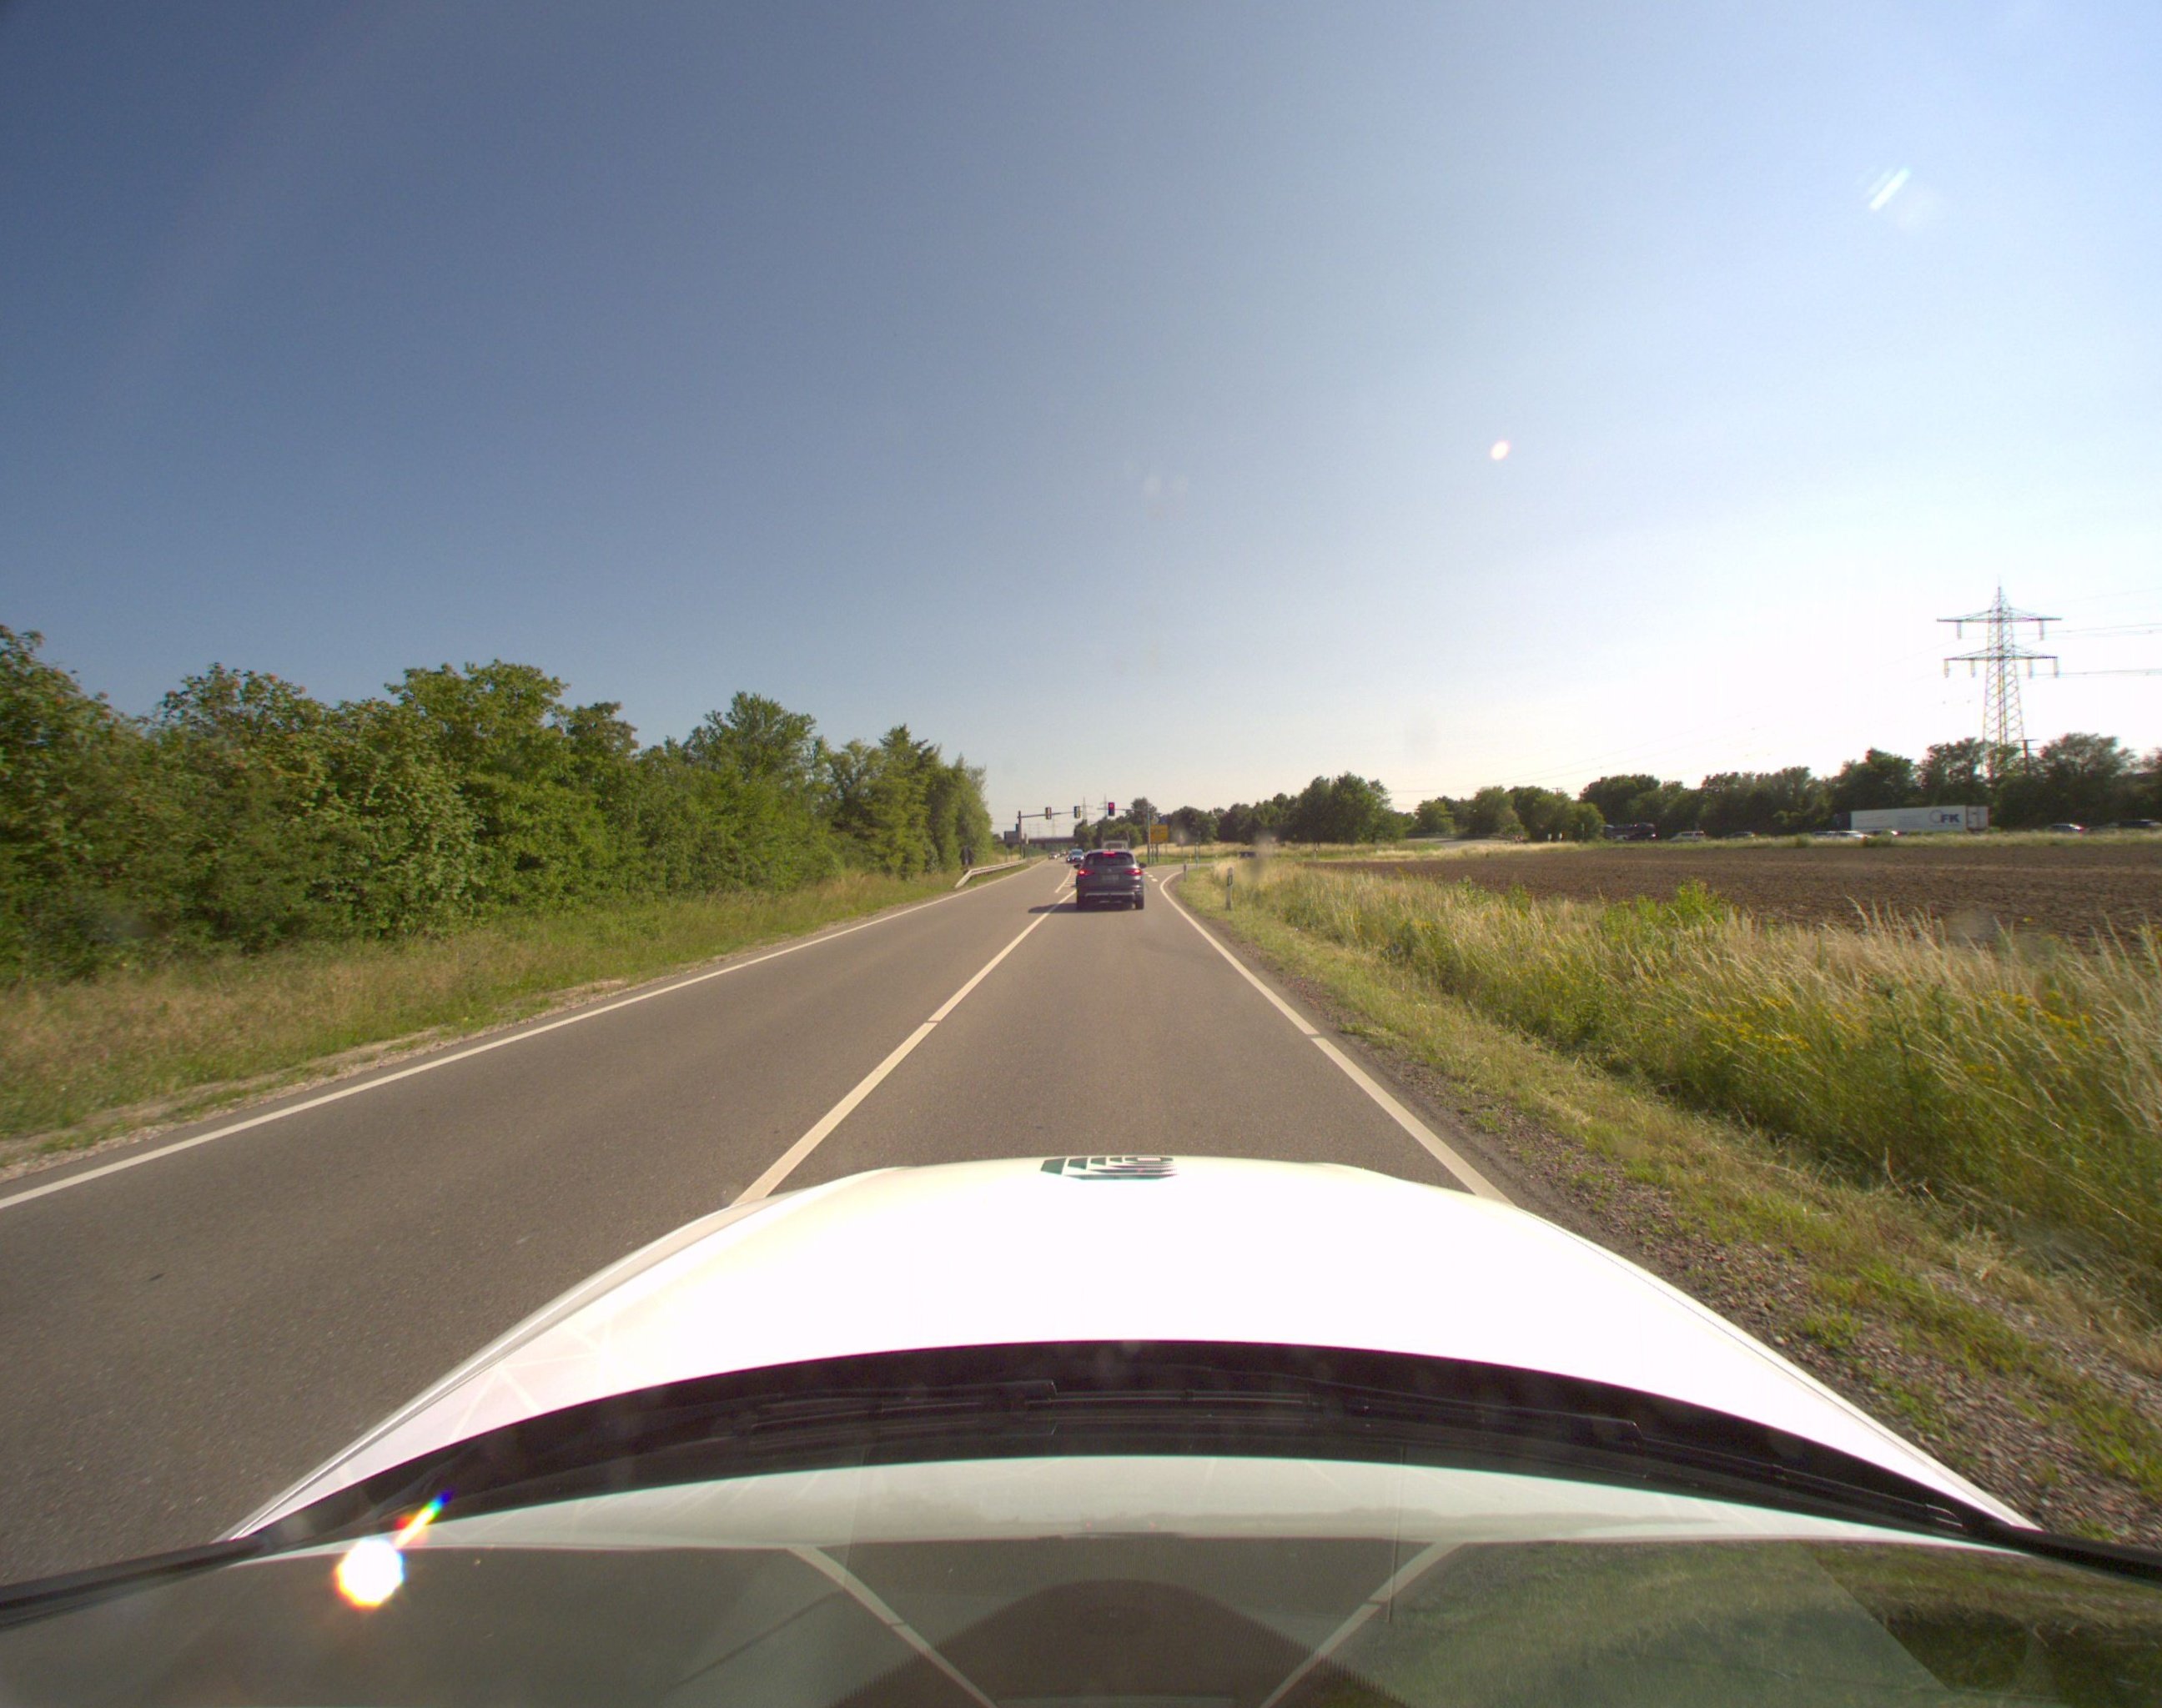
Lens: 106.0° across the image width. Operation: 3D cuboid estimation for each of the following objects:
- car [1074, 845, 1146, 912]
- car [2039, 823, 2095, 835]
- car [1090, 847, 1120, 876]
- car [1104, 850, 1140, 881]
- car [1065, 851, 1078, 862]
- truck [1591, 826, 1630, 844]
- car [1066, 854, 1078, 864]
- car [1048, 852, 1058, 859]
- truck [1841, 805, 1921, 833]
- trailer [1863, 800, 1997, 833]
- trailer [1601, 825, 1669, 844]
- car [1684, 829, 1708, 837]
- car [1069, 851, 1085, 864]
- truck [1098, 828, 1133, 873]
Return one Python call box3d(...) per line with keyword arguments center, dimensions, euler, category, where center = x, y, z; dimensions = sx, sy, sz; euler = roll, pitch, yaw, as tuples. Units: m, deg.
box3d(center=(0.774, 0.604, 22.577), dimensions=(1.779, 1.629, 4.001), euler=(-2, 0, 1), category="car")
box3d(center=(101.215, -2.571, 83.664), dimensions=(1.390, 1.151, 3.580), euler=(-1, 1, -1), category="car")
box3d(center=(1.467, 0.435, 51.456), dimensions=(1.779, 1.675, 4.001), euler=(-2, 0, 1), category="car")
box3d(center=(2.162, 0.605, 44.166), dimensions=(1.779, 1.543, 4.001), euler=(-2, 0, 1), category="car")
box3d(center=(-1.395, 0.338, 115.441), dimensions=(1.680, 1.380, 3.530), euler=(-1, 1, -2), category="car")
box3d(center=(101.861, -3.616, 156.767), dimensions=(3.274, 3.267, 6.428), euler=(-2, 1, 0), category="truck")
box3d(center=(-1.306, 0.705, 120.492), dimensions=(1.680, 1.380, 3.530), euler=(-1, 1, -2), category="car")
box3d(center=(-5.843, 0.290, 169.089), dimensions=(1.820, 1.431, 3.996), euler=(-2, 0, -3), category="car")
box3d(center=(102.316, -4.434, 104.354), dimensions=(3.274, 3.267, 6.978), euler=(-2, 0, 0), category="truck")
box3d(center=(102.304, -4.431, 98.612), dimensions=(3.274, 3.267, 12.455), euler=(-2, 0, 0), category="trailer")
box3d(center=(101.830, -3.537, 150.094), dimensions=(3.274, 3.267, 13.452), euler=(-2, 1, 0), category="trailer")
box3d(center=(94.780, -3.248, 125.540), dimensions=(1.390, 1.151, 3.182), euler=(-1, 1, 1), category="car")
box3d(center=(-0.551, 0.408, 103.371), dimensions=(1.812, 1.540, 3.996), euler=(-2, 0, -3), category="car")
box3d(center=(2.511, -0.213, 59.128), dimensions=(2.328, 3.066, 5.812), euler=(-1, 0, 2), category="truck")
